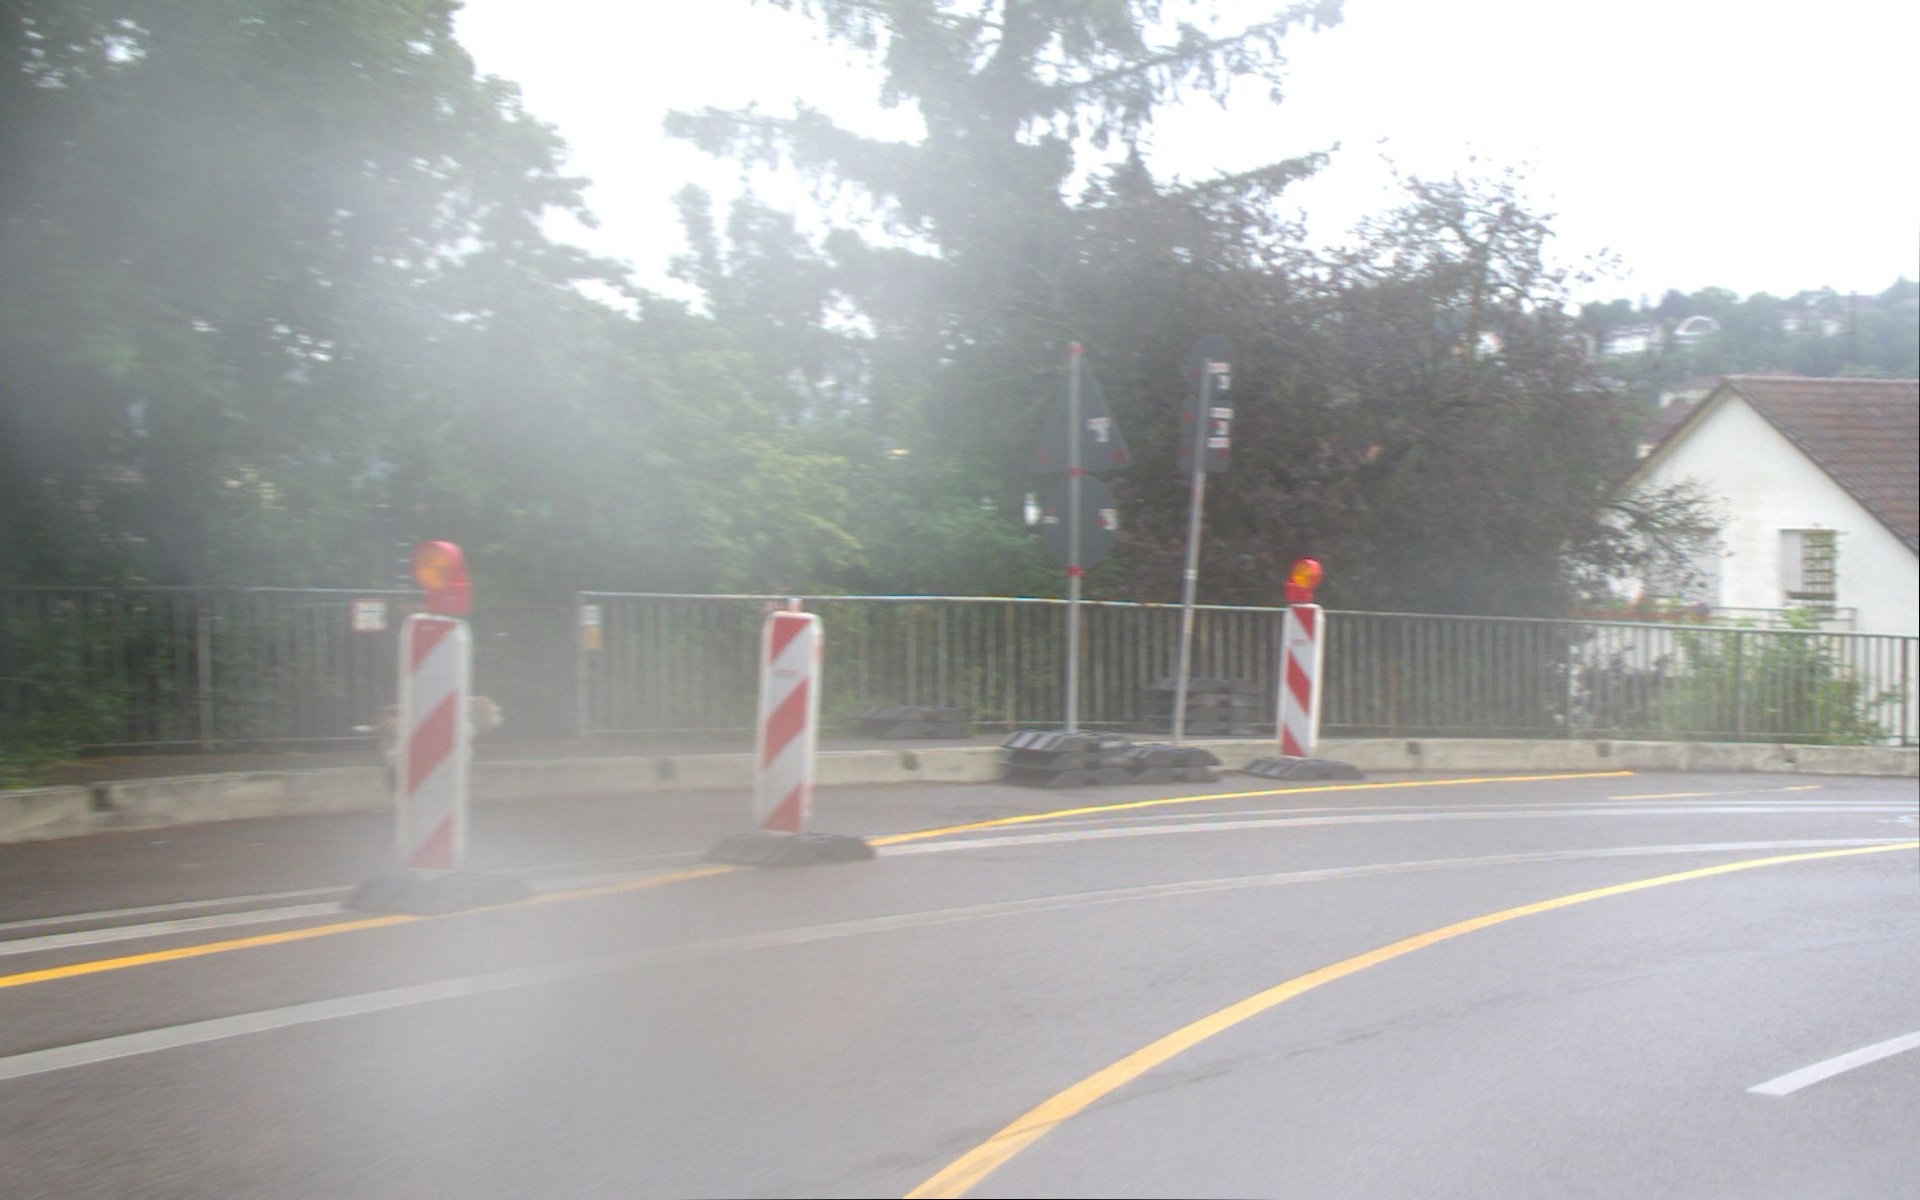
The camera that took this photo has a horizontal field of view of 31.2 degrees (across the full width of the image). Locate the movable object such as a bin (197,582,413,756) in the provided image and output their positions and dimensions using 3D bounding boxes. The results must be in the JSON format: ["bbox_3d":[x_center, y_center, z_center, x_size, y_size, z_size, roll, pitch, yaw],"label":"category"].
[{"bbox_3d":[-4.310,0.437,22.627,1.024,1.103,0.989,-1,1,-44],"label":"movable object such as a bin"}]

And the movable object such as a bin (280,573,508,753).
[{"bbox_3d":[-3.590,0.391,21.803,1.024,1.103,0.989,1,-1,-44],"label":"movable object such as a bin"}]

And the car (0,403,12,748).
[{"bbox_3d":[-5.620,0.221,11.121,1.997,2.007,4.941,3,1,28],"label":"car"}]
